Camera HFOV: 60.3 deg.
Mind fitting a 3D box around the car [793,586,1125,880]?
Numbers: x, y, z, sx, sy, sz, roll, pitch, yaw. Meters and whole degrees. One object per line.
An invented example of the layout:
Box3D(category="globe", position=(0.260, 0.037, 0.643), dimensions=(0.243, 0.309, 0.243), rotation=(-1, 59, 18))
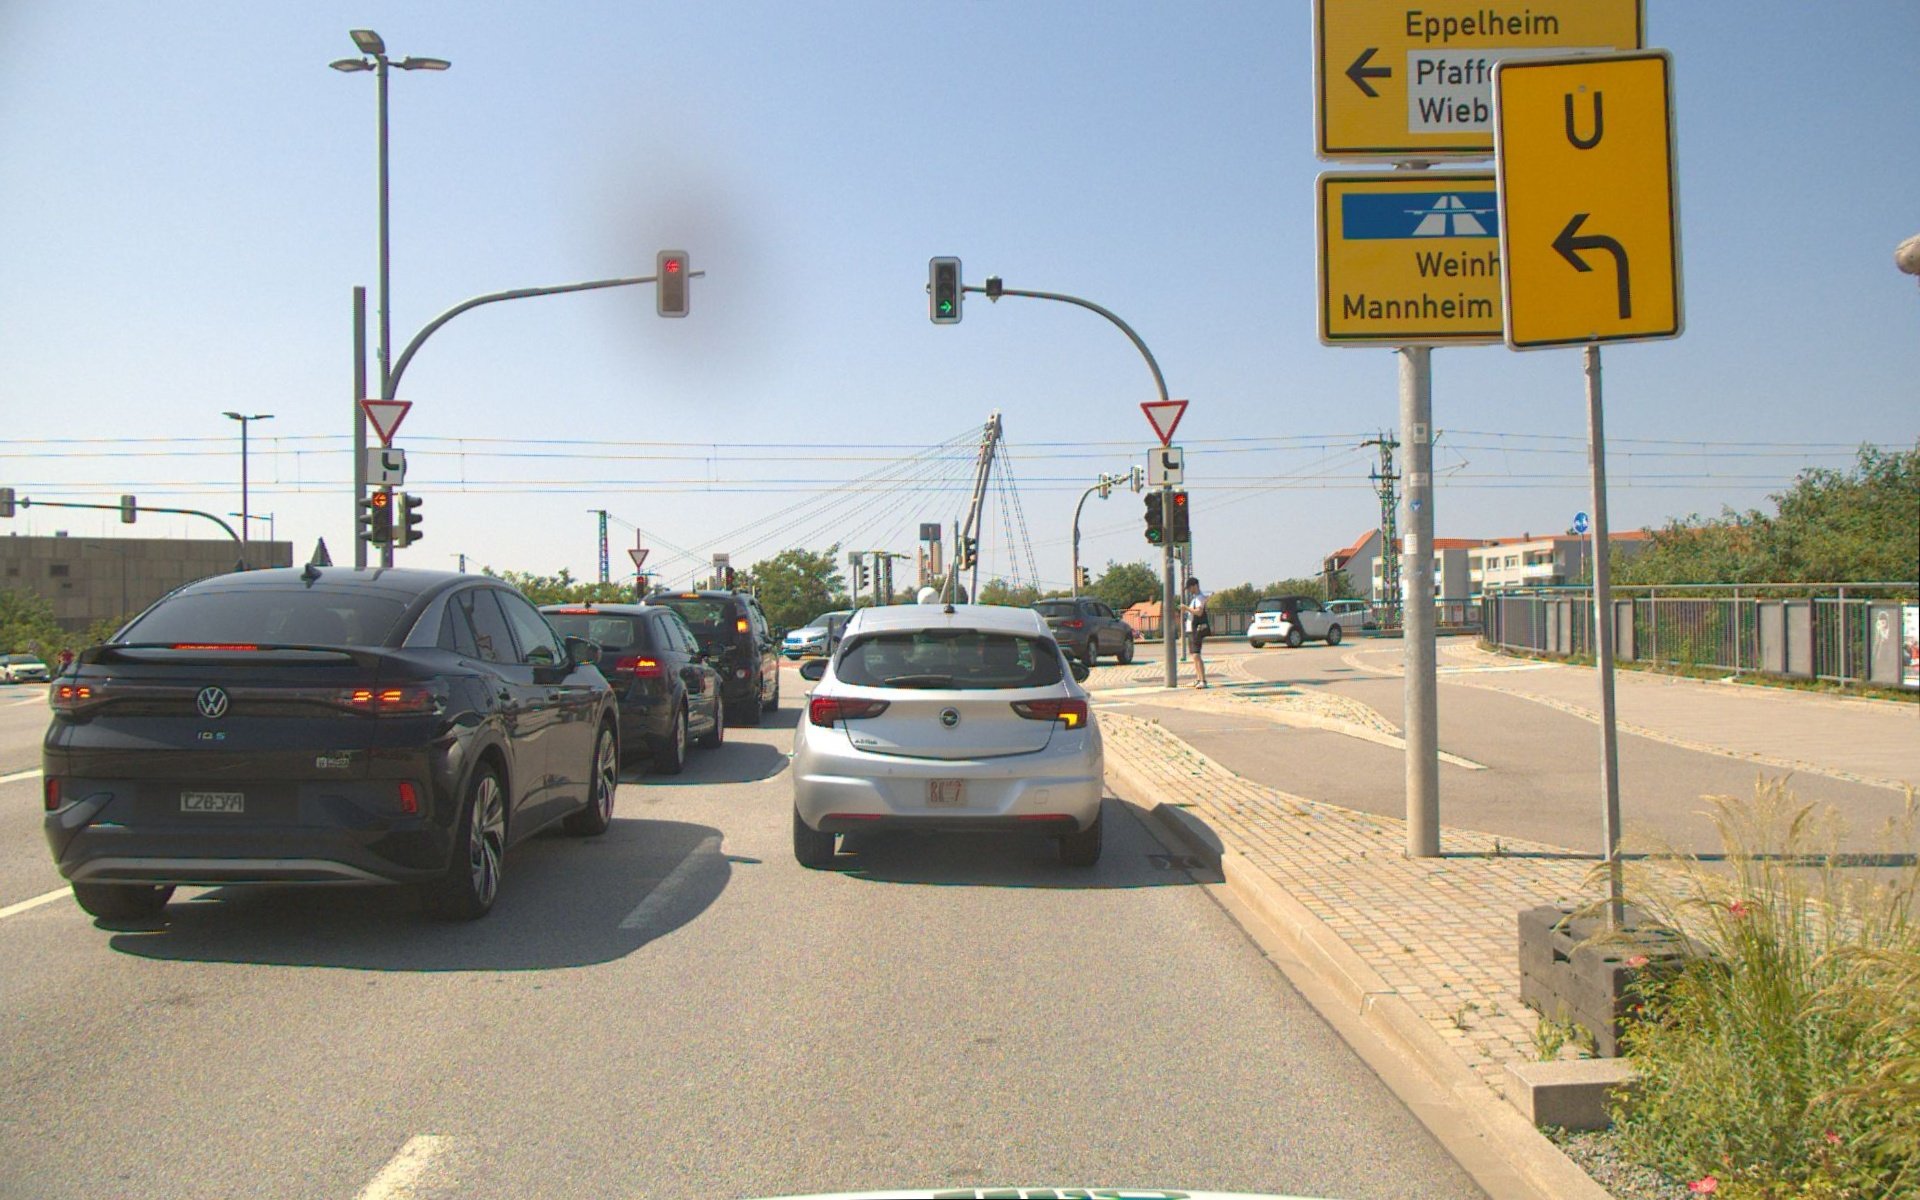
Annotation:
Box3D(category="car", position=(-0.086, 0.715, 10.596), dimensions=(1.708, 1.504, 3.998), rotation=(1, -1, -3))

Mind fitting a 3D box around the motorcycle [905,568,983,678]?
Box3D(category="motorcycle", position=(-0.196, 0.276, 17.560), dimensions=(0.492, 1.031, 2.170), rotation=(-6, -2, -7))

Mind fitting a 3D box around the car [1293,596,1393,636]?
Box3D(category="car", position=(15.482, 0.651, 66.931), dimensions=(3.565, 1.512, 1.683), rotation=(1, -1, -16))

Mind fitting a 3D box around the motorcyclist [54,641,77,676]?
Box3D(category="motorcyclist", position=(-39.182, 2.549, 72.443), dimensions=(0.745, 1.520, 0.668), rotation=(2, -1, -37))

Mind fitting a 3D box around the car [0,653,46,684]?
Box3D(category="car", position=(-44.658, 3.259, 78.591), dimensions=(1.594, 1.362, 2.883), rotation=(2, -1, -40))

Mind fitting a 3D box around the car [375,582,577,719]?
Box3D(category="car", position=(-6.064, 0.610, 21.117), dimensions=(1.565, 1.574, 3.760), rotation=(1, -1, -2))

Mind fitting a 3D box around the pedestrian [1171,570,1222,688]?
Box3D(category="pedestrian", position=(3.828, 0.467, 26.799), dimensions=(0.634, 1.868, 0.797), rotation=(-2, -1, -2))

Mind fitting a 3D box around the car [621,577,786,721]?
Box3D(category="car", position=(-3.161, 0.587, 21.051), dimensions=(1.616, 1.644, 3.818), rotation=(1, -1, -2))

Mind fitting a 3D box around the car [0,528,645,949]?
Box3D(category="car", position=(-2.999, 0.581, 8.864), dimensions=(1.765, 1.670, 4.365), rotation=(1, -1, 0))

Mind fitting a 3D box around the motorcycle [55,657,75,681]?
Box3D(category="motorcycle", position=(-39.154, 3.027, 72.344), dimensions=(0.515, 0.972, 1.909), rotation=(2, -1, -37))

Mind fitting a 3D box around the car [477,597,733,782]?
Box3D(category="car", position=(-3.104, 0.740, 15.144), dimensions=(1.543, 1.459, 3.785), rotation=(1, -1, -1))

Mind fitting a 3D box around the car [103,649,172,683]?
Box3D(category="car", position=(-34.735, 2.766, 69.803), dimensions=(1.805, 1.354, 3.943), rotation=(2, -2, -39))

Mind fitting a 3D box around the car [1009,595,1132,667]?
Box3D(category="car", position=(2.703, 0.692, 39.558), dimensions=(1.689, 1.591, 3.998), rotation=(1, 0, 23))
